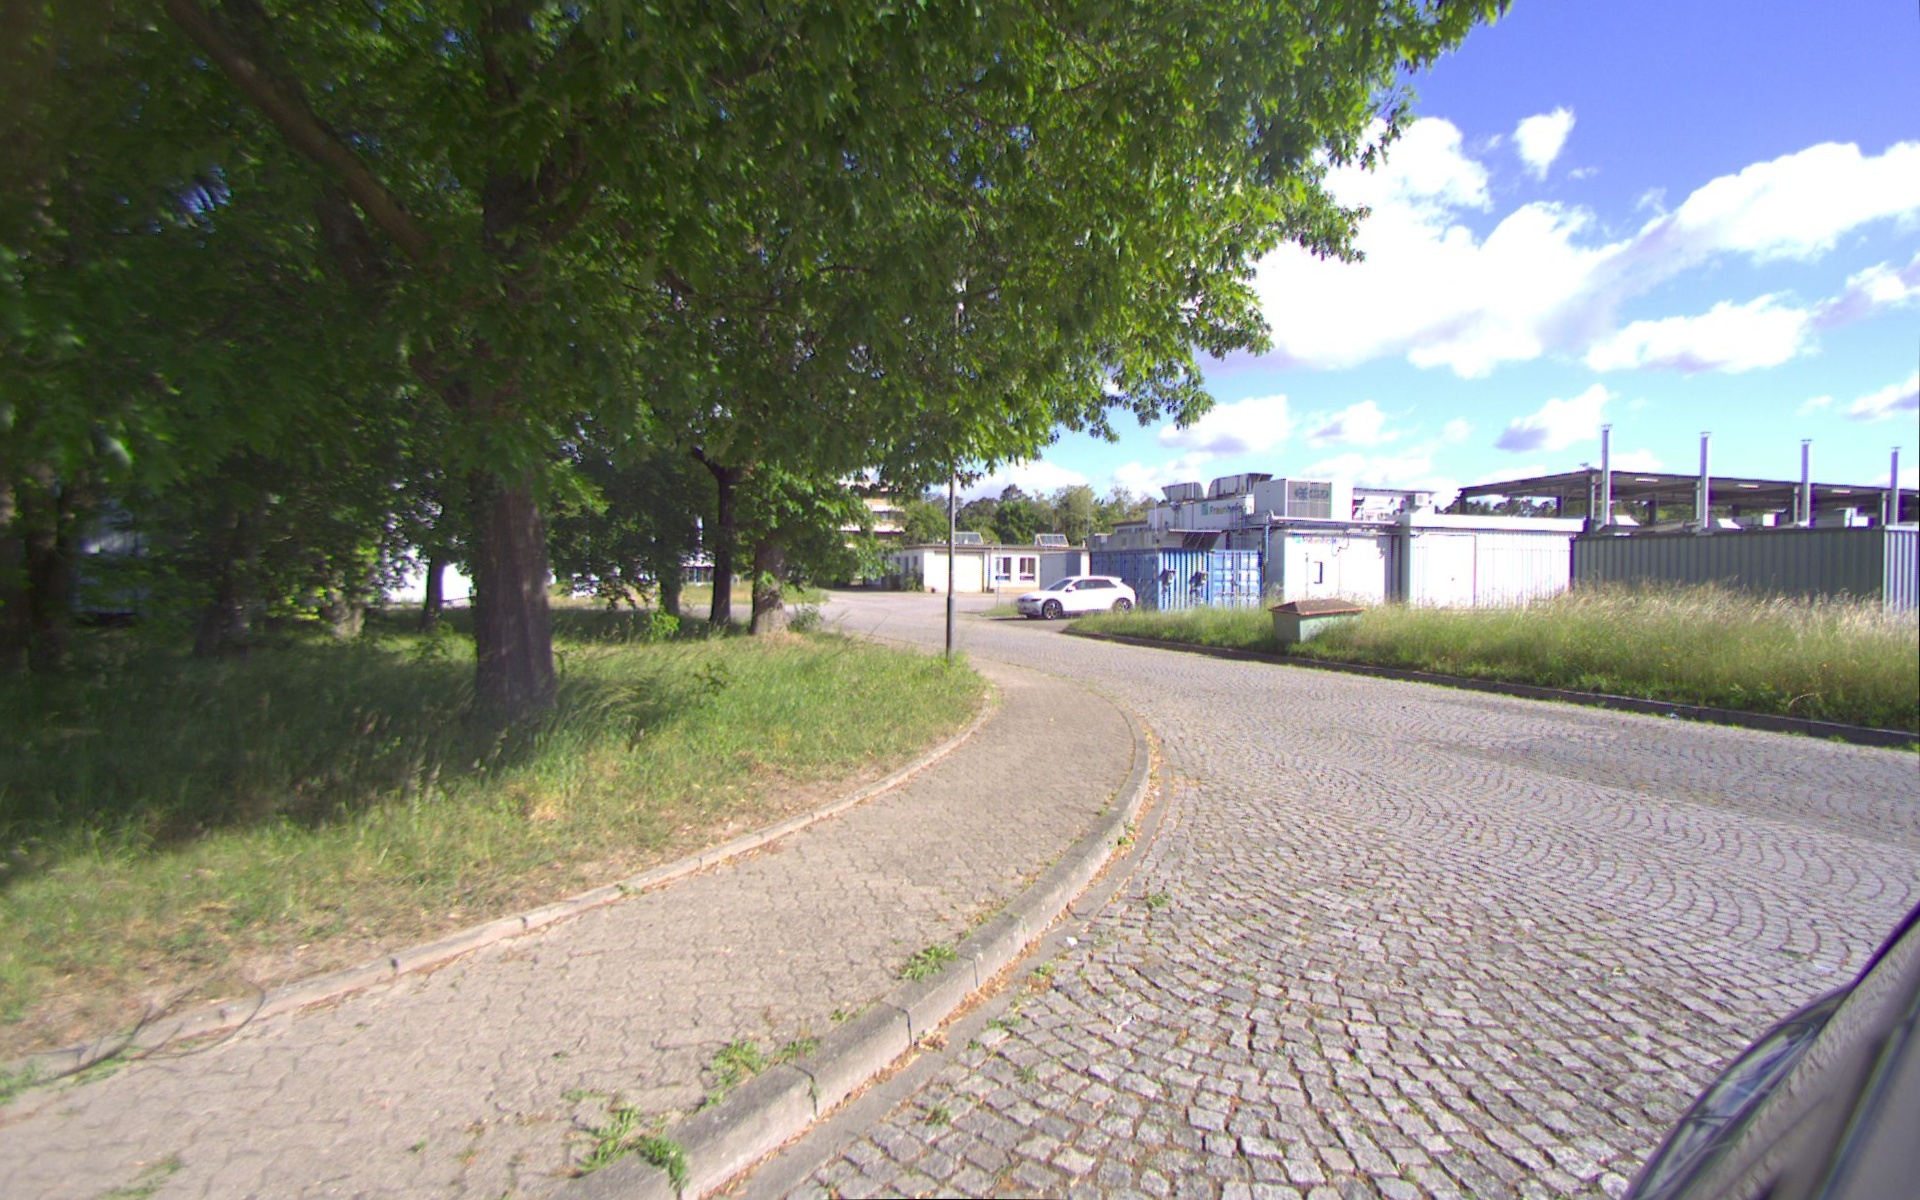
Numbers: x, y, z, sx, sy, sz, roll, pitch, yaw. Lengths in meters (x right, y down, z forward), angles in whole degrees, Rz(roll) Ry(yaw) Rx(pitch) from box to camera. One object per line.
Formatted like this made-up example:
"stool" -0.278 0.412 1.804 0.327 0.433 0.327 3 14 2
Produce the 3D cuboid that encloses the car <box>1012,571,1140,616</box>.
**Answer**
"car" 4.360 -0.259 38.184 4.425 1.613 1.828 -1 1 -20
